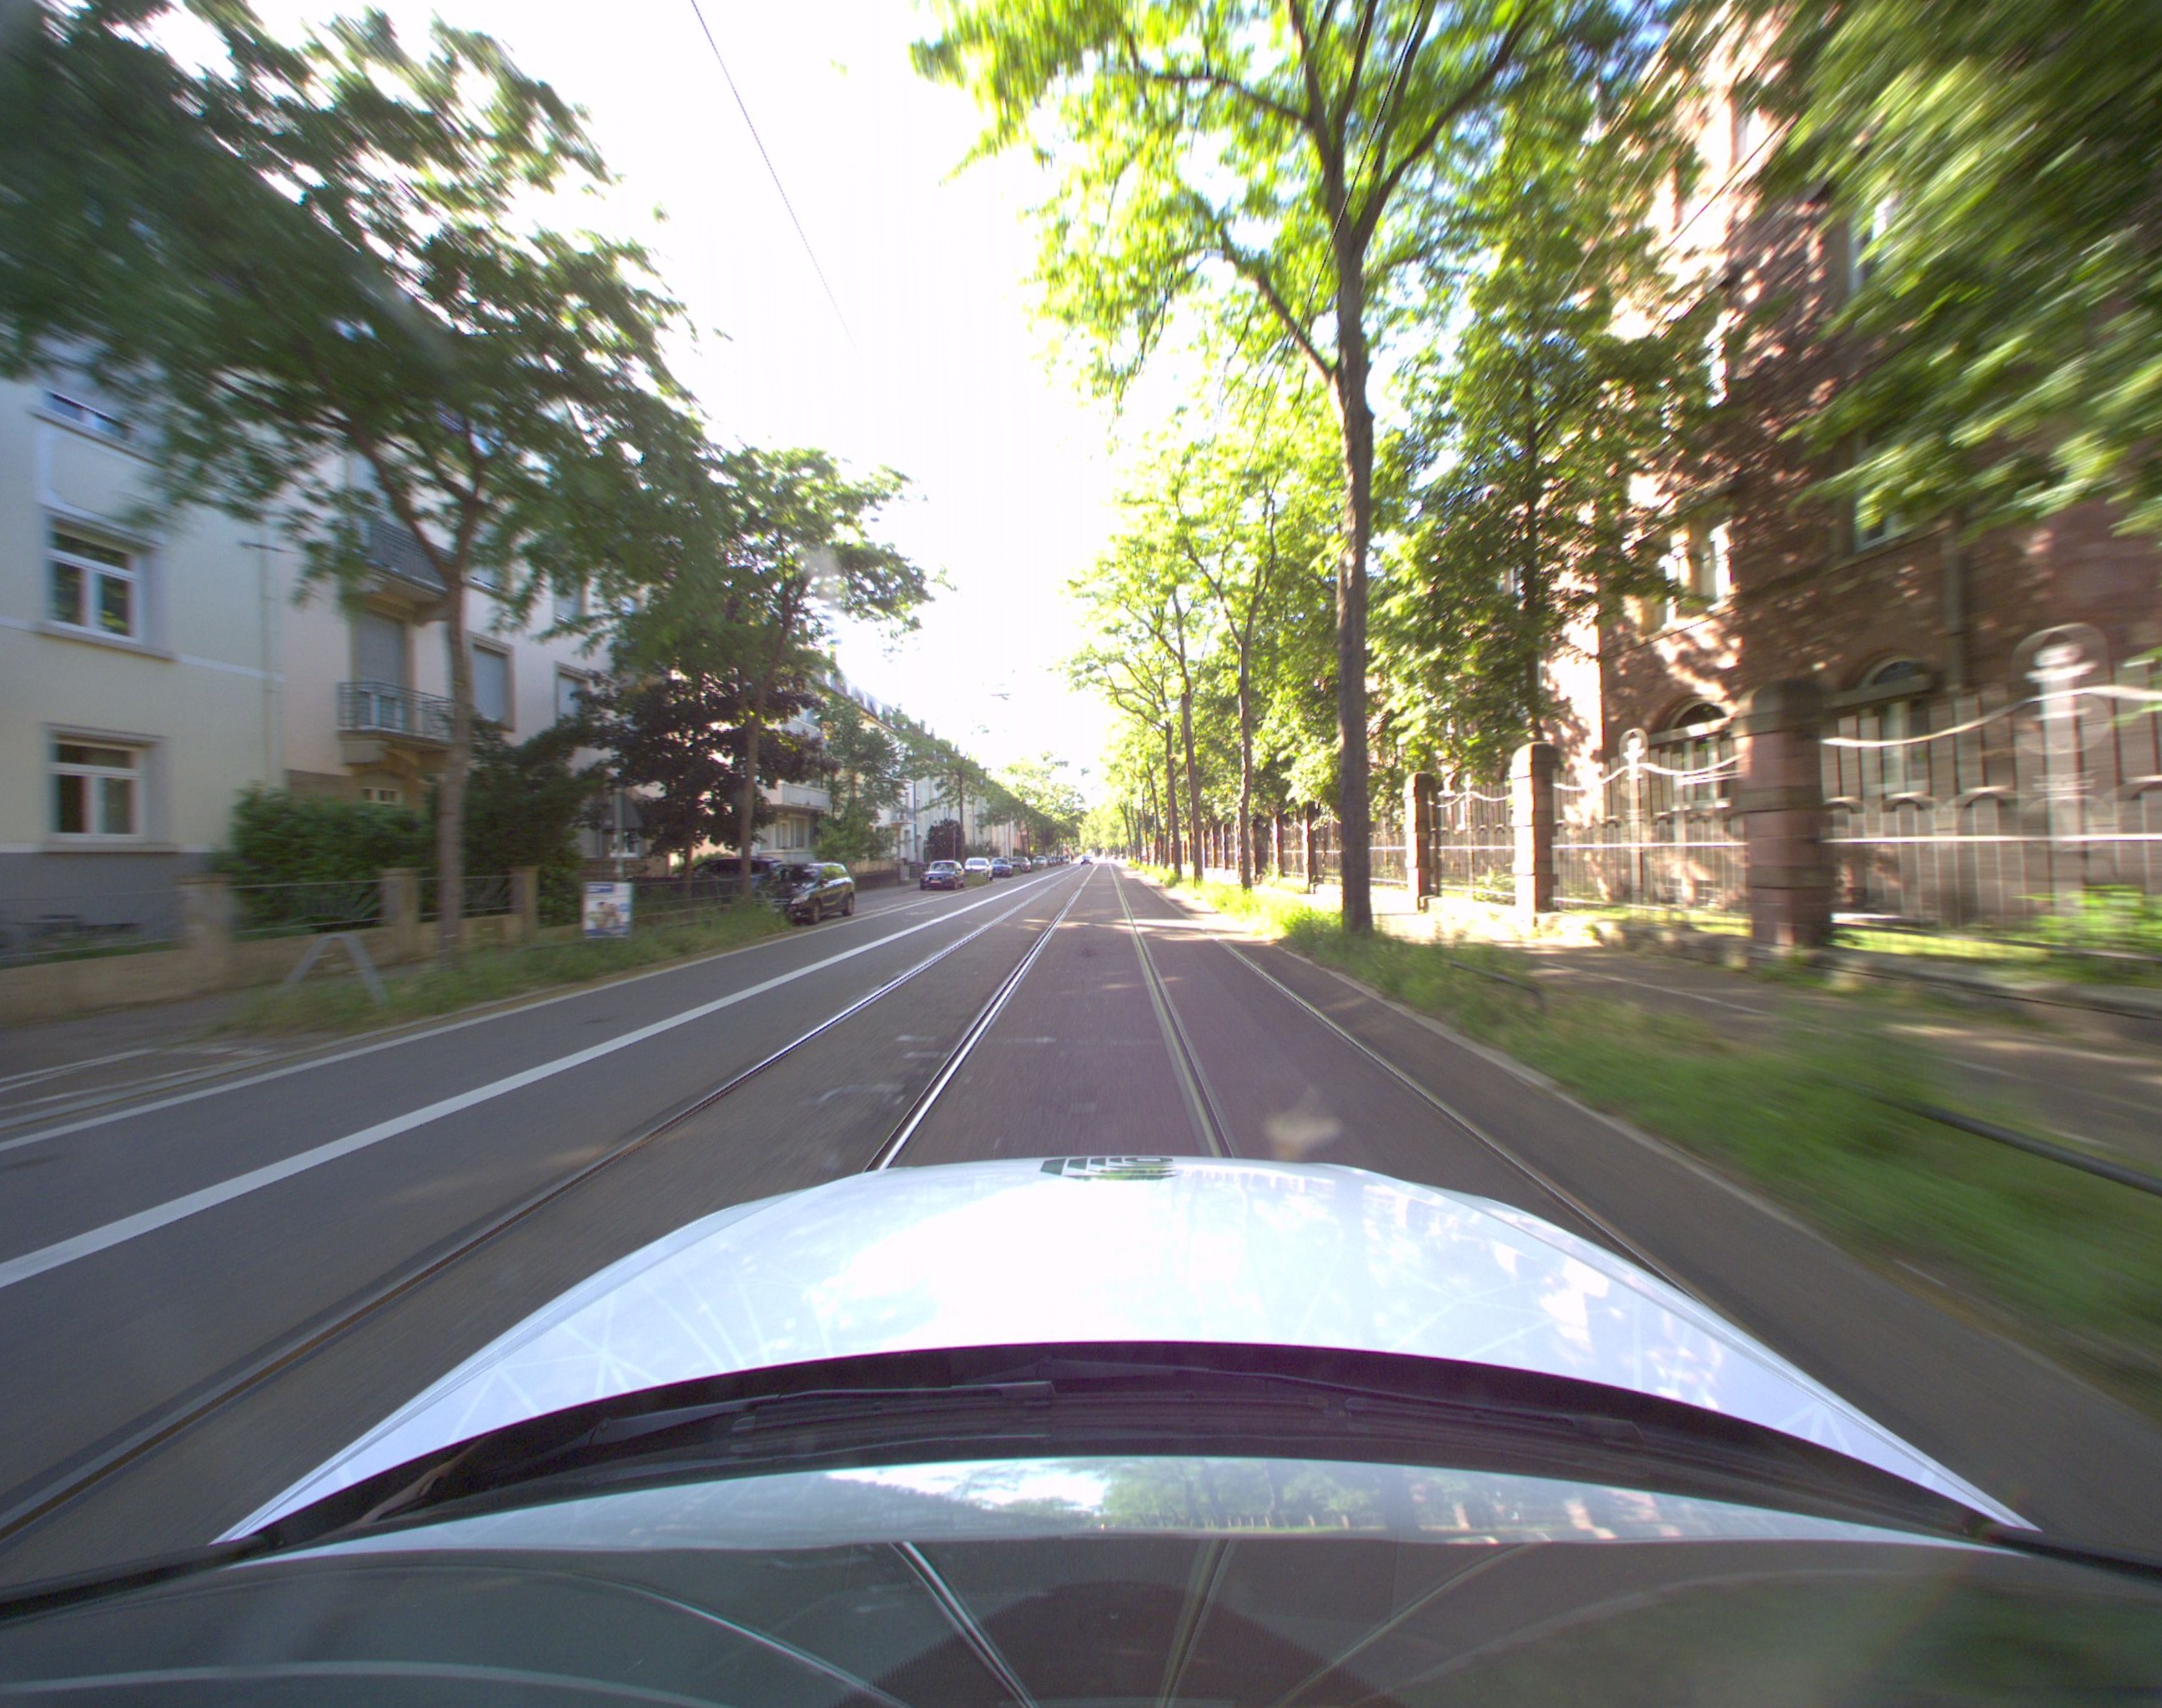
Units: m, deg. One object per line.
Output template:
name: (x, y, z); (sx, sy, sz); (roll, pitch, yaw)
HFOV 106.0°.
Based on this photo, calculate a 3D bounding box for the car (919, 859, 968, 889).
car: (-6.907, 0.960, 41.309); (1.699, 1.406, 4.334); (0, 0, 1)

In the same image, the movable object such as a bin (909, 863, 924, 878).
movable object such as a bin: (-11.452, 1.127, 56.692); (0.841, 1.046, 0.733); (1, 0, 4)

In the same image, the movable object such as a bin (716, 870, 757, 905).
movable object such as a bin: (-10.805, 1.043, 25.570); (0.872, 1.066, 0.814); (-1, 0, 1)

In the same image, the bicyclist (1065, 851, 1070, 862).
bicyclist: (-2.149, 0.372, 129.346); (0.624, 1.639, 0.940); (-4, 0, 1)

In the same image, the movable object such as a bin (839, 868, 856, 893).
movable object such as a bin: (-10.259, 1.141, 35.762); (0.535, 1.066, 0.510); (-1, 0, 2)

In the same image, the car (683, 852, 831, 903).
car: (-10.830, 0.762, 27.429); (4.152, 1.659, 1.983); (0, 0, 0)

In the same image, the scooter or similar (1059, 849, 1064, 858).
scooter or similar: (-2.723, -0.063, 115.601); (0.518, 1.297, 1.378); (-5, 0, 2)

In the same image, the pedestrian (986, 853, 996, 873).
pedestrian: (-8.341, 0.831, 75.564); (0.689, 1.801, 0.813); (-2, 0, 1)

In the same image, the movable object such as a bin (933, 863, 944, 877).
movable object such as a bin: (-9.878, 1.116, 56.613); (0.557, 0.975, 0.733); (1, 0, 4)

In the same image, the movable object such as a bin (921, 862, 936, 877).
movable object such as a bin: (-10.596, 1.058, 56.649); (0.841, 1.046, 0.733); (1, 0, 4)

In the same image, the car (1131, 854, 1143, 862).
car: (12.225, 0.889, 178.394); (1.939, 1.610, 3.995); (-1, 0, -4)

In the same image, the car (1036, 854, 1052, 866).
car: (-4.642, 0.768, 102.353); (1.696, 1.485, 4.080); (1, 0, 2)

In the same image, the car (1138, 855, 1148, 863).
car: (12.677, 0.970, 167.219); (1.833, 1.655, 3.578); (-1, 0, 0)

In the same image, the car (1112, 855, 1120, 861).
car: (10.259, 1.145, 240.423); (1.938, 1.610, 3.995); (-1, 0, -3)

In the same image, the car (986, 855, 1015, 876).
car: (-6.173, 0.862, 63.170); (1.752, 1.511, 4.439); (0, 0, 0)

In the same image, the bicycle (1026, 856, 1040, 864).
bicycle: (-8.108, 0.999, 136.975); (2.271, 1.198, 0.561); (1, 1, 8)

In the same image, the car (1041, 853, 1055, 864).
car: (-4.462, 0.626, 110.488); (1.681, 1.485, 3.760); (1, 0, 1)

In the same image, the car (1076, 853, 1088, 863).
car: (0.205, 0.641, 125.969); (1.752, 1.439, 4.523); (-1, 0, 0)

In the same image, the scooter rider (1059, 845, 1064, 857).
scooter rider: (-2.740, -0.418, 115.606); (0.495, 1.699, 0.787); (-5, 0, 1)

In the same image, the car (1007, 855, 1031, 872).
car: (-5.737, 0.875, 75.727); (1.810, 1.485, 4.208); (0, 0, 2)

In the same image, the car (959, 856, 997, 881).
car: (-6.610, 0.925, 52.654); (1.811, 1.511, 4.371); (0, 0, 0)

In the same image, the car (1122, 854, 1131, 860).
car: (12.549, 0.707, 226.316); (1.939, 1.610, 3.995); (-1, 0, -4)

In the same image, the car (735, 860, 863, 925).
car: (-7.482, 0.949, 22.084); (1.770, 1.541, 4.487); (0, 0, 2)

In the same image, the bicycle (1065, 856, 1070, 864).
bicycle: (-2.107, 0.921, 129.418); (0.624, 1.177, 1.914); (-4, 0, 2)
